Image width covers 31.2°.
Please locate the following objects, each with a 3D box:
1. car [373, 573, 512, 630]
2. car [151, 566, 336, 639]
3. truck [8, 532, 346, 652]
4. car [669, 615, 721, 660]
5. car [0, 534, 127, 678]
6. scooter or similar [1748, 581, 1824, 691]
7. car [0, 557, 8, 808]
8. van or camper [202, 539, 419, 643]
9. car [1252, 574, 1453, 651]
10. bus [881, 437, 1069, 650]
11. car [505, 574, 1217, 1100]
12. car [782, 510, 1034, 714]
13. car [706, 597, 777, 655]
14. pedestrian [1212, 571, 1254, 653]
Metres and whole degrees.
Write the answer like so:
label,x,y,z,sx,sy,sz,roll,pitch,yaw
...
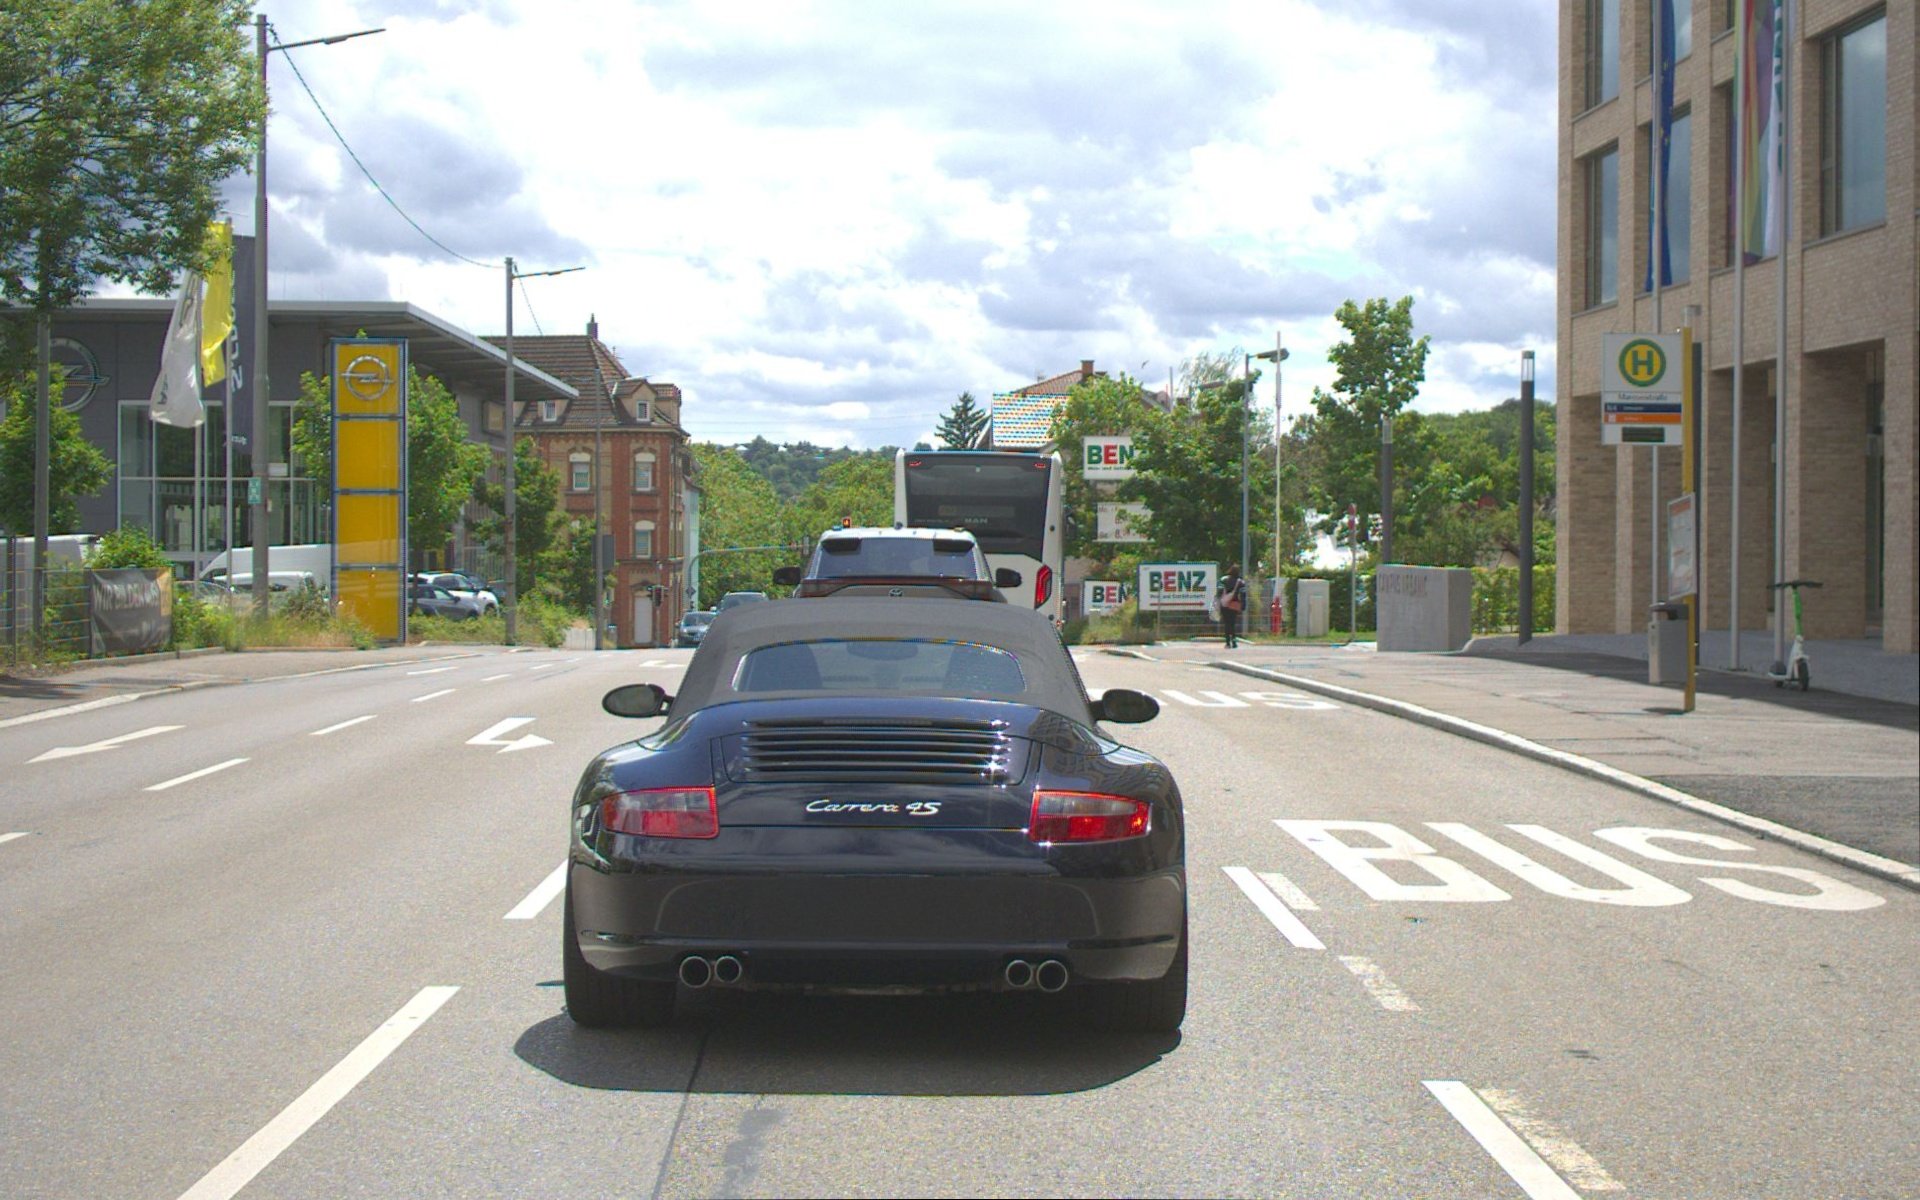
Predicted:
label,x,y,z,sx,sy,sz,roll,pitch,yaw
car,-14.931,0.066,99.482,1.933,1.567,4.548,0,-1,22
car,-17.298,0.049,83.113,3.987,1.700,2.000,0,1,4
truck,-14.656,-0.135,64.656,5.860,2.140,2.477,-1,-1,-4
car,-9.886,1.387,128.450,1.743,1.590,4.042,-2,0,-3
car,-14.186,0.059,49.012,4.160,2.007,2.199,0,1,-3
scooter or similar,8.776,0.371,36.556,0.427,1.149,1.404,-1,0,-2
car,-6.152,0.512,16.862,1.796,1.372,4.225,-1,1,0
van or camper,-16.165,-0.247,85.732,5.026,2.522,2.318,0,1,-2
car,10.115,0.336,88.785,4.706,1.842,2.089,-1,-1,-8
bus,0.340,-0.974,57.796,2.802,3.187,12.195,0,1,1
car,-0.280,0.629,11.455,1.930,1.372,4.208,0,1,0
car,-0.512,0.065,28.829,1.930,1.577,4.208,0,1,-3
car,-5.824,0.709,91.801,1.829,1.504,4.277,-1,-1,-3
pedestrian,5.108,0.221,64.347,0.687,1.531,0.856,0,0,-1
